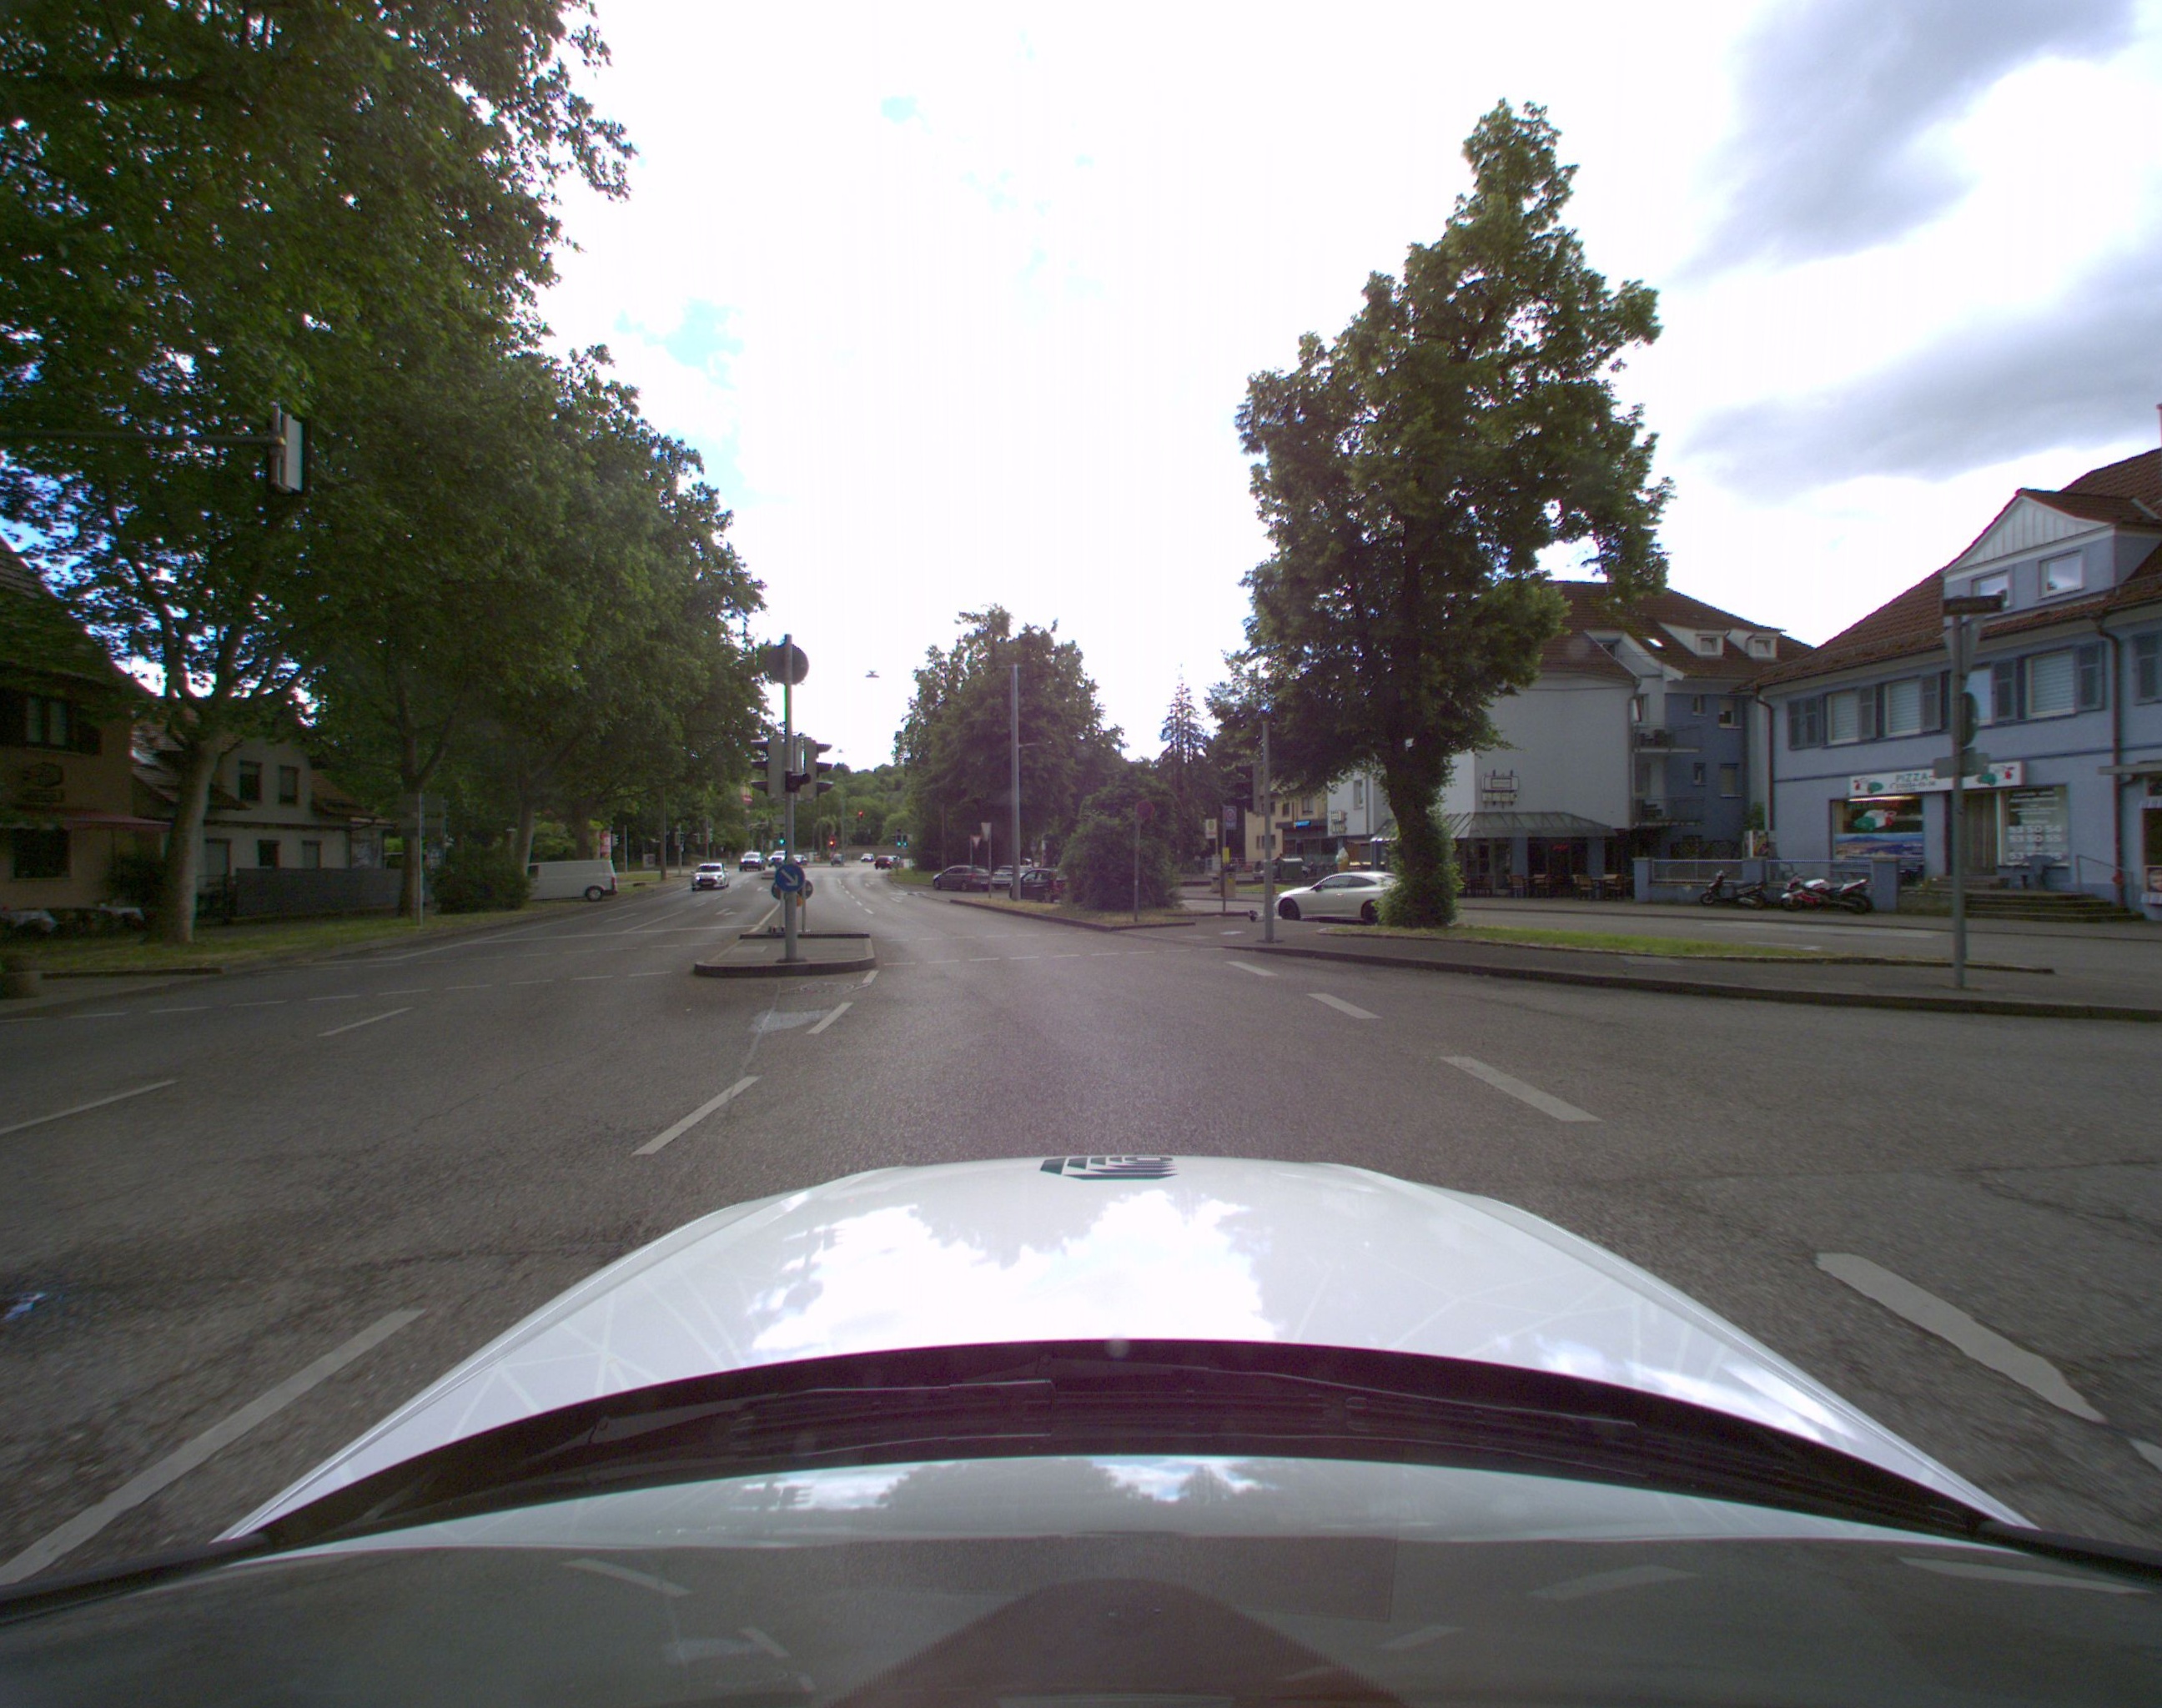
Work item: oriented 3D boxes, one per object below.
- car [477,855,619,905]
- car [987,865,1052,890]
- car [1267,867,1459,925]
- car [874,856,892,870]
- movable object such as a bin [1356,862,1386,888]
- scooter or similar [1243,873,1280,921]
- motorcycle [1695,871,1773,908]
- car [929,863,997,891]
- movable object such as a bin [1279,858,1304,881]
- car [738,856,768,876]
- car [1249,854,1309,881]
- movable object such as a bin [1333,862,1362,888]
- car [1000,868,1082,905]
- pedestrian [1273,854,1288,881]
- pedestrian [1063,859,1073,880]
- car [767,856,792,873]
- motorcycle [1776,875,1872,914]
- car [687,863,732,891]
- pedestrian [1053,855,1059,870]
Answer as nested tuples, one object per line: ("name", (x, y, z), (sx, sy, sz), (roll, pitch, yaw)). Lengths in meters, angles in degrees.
("car", (-24.374, 1.127, 37.513), (5.261, 1.931, 2.063), (-3, 1, -31))
("car", (-3.650, 1.362, 49.114), (1.742, 1.380, 4.288), (0, 0, 31))
("car", (7.722, 1.113, 22.721), (2.009, 1.386, 4.734), (-1, -1, -37))
("car", (-22.085, 0.950, 91.030), (1.824, 1.509, 4.555), (-1, 0, -12))
("movable object such as a bin", (16.322, 1.161, 45.837), (1.211, 1.395, 1.160), (-1, -1, -3))
("scooter or similar", (4.586, 1.077, 20.663), (0.407, 1.167, 1.371), (-1, -3, 35))
("motorcycle", (18.974, 1.021, 23.697), (0.491, 1.031, 1.709), (-1, -1, -28))
("car", (-6.845, 1.295, 47.022), (4.061, 1.429, 1.744), (1, 1, 43))
("movable object such as a bin", (13.125, 0.970, 50.824), (1.217, 1.345, 0.991), (-1, -1, -13))
("car", (-29.710, 1.094, 73.946), (1.799, 1.586, 4.395), (-3, 1, -13))
("car", (12.834, 0.858, 52.874), (3.409, 1.630, 1.621), (-1, -1, -7))
("movable object such as a bin", (14.968, 1.193, 45.773), (1.211, 1.416, 1.093), (-1, -1, -3))
("car", (-1.720, 1.347, 34.286), (1.582, 1.404, 3.452), (-1, 0, -43))
("pedestrian", (12.680, 0.868, 51.820), (0.688, 1.729, 0.608), (-1, -1, -13))
("pedestrian", (-1.017, 1.208, 63.786), (0.684, 1.551, 0.739), (-1, 0, -13))
("car", (-33.095, 1.137, 89.474), (1.912, 1.763, 4.733), (-1, 1, -12))
("motorcycle", (19.733, 1.050, 21.683), (0.523, 0.985, 1.806), (0, -1, -28))
("car", (-21.552, 1.301, 47.374), (1.766, 1.466, 4.000), (-2, 0, -16))
("pedestrian", (-2.495, 0.871, 81.583), (0.509, 1.531, 0.777), (0, -1, -4))
